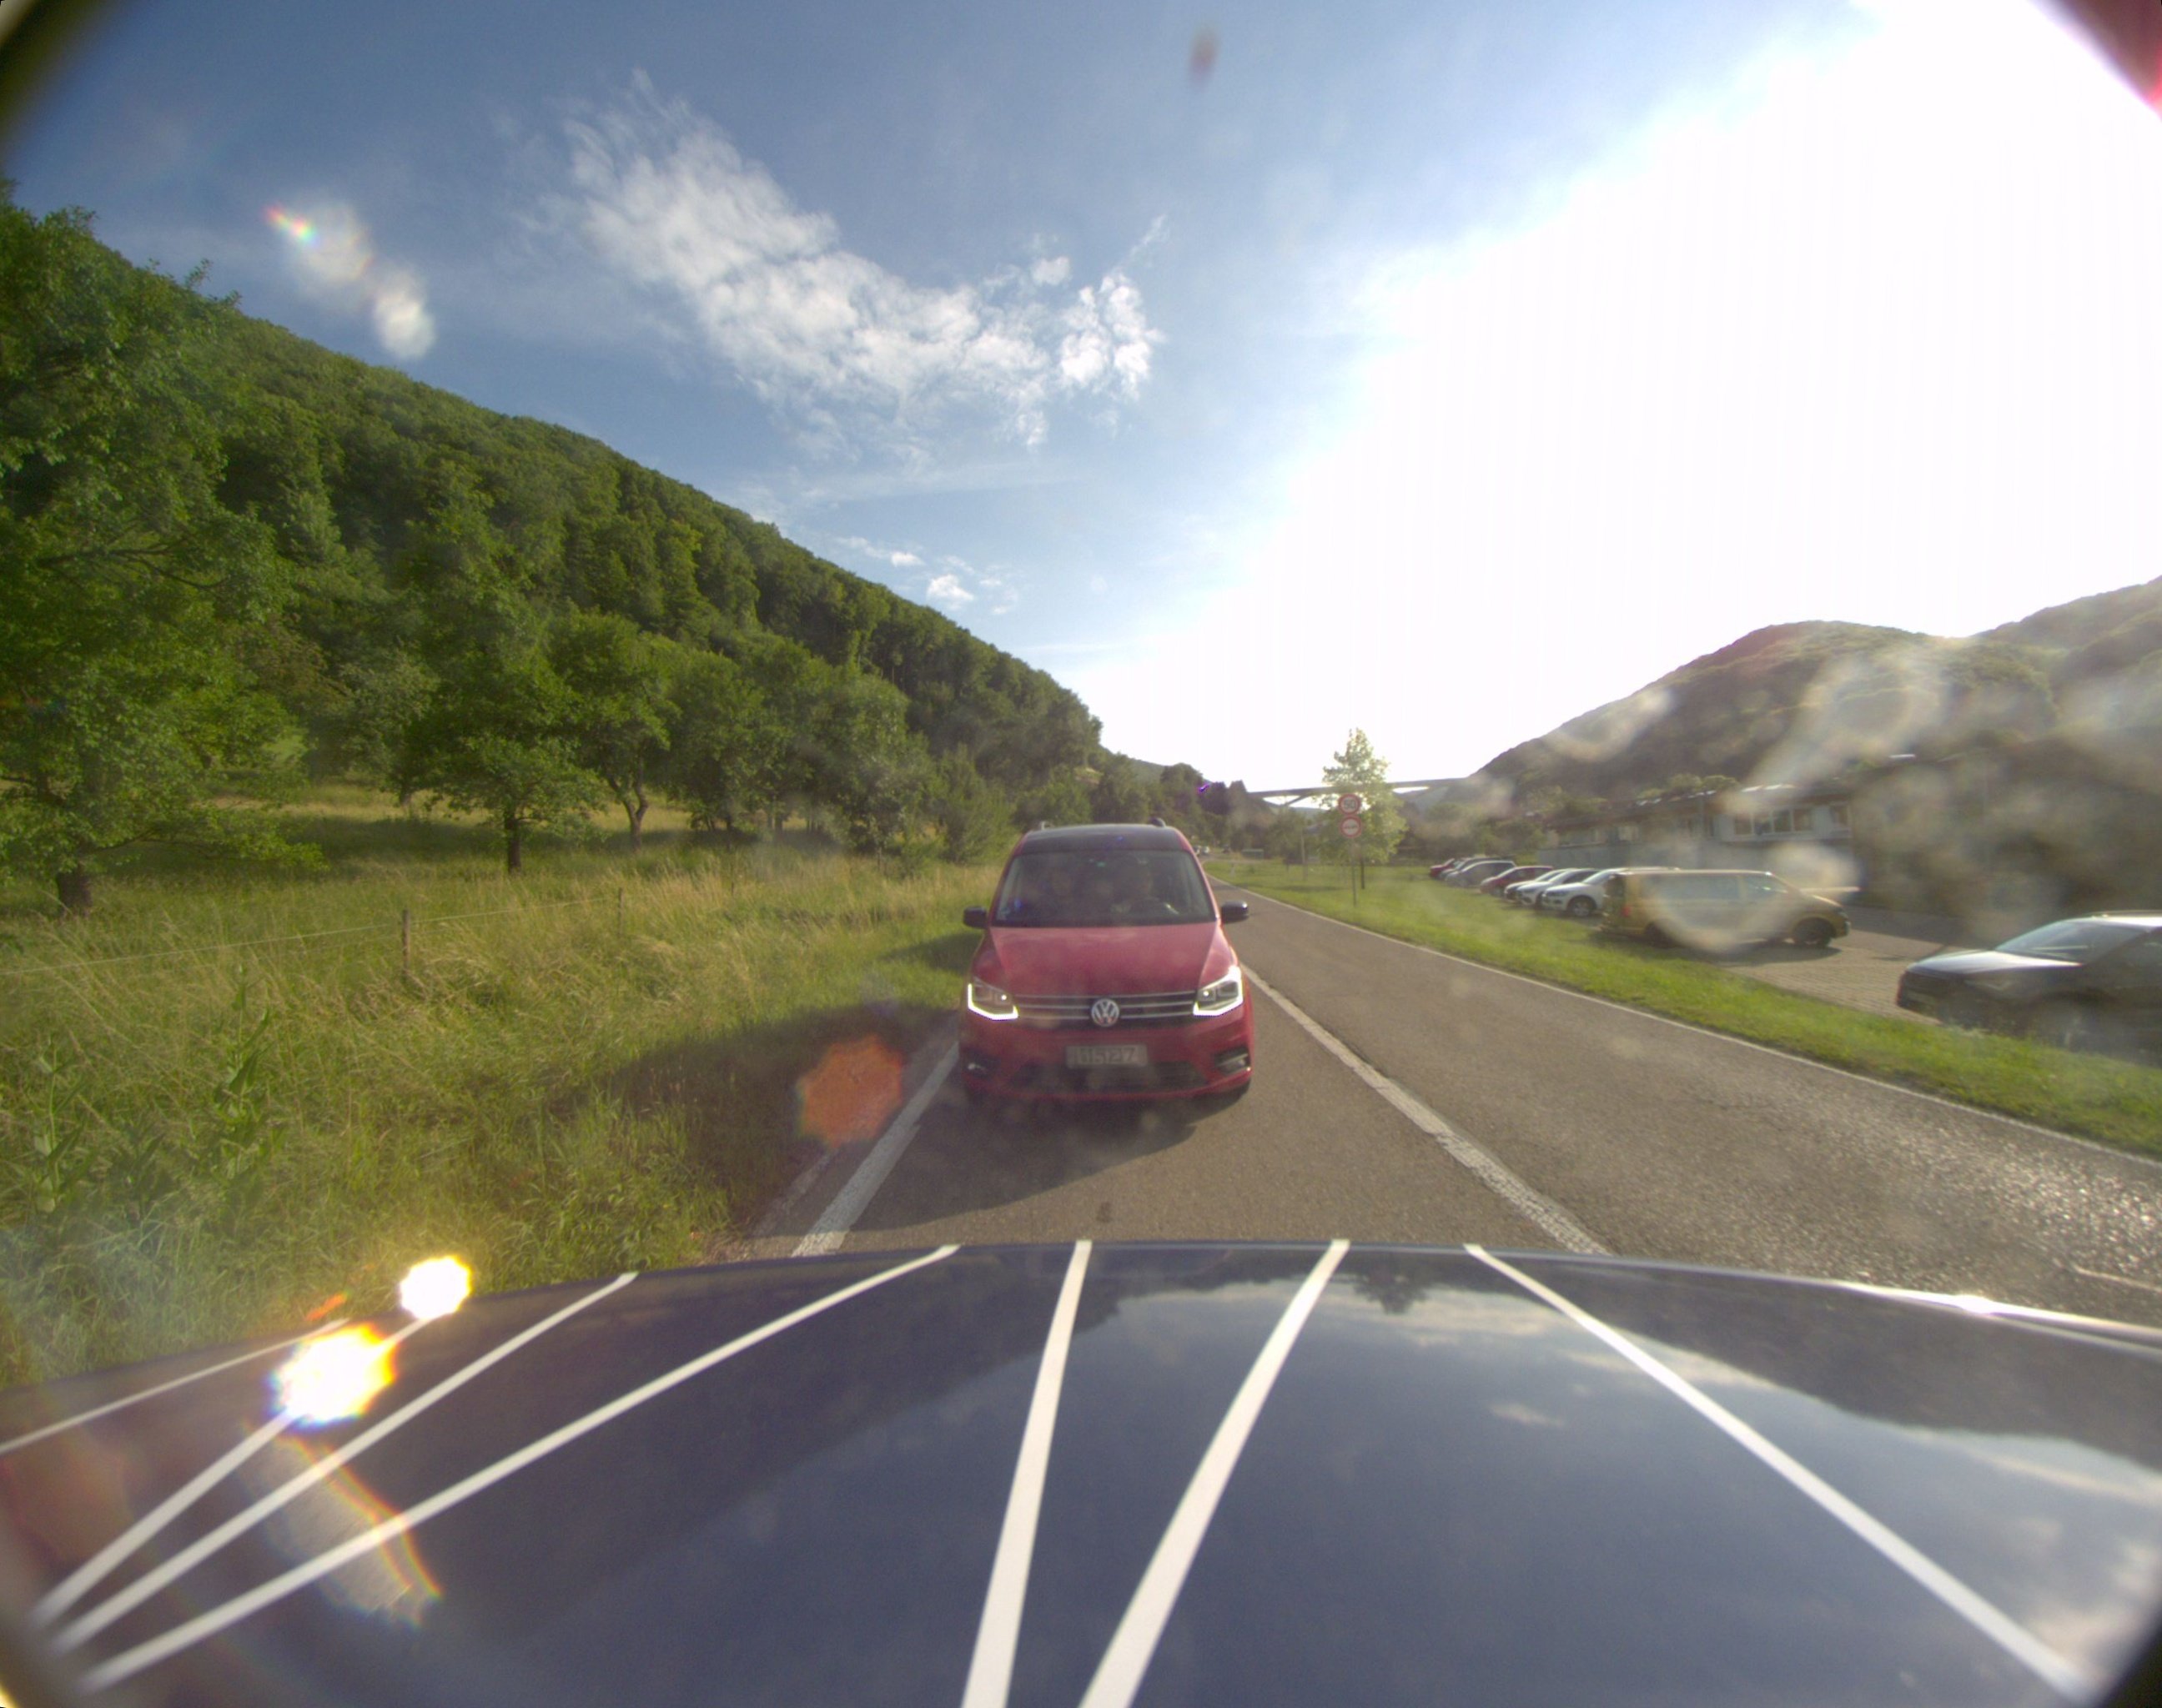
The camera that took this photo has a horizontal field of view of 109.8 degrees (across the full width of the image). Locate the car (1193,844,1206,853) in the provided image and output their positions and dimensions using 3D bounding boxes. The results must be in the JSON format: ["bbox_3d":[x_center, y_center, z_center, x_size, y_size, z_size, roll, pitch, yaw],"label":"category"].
[{"bbox_3d":[22.006,-1.001,140.678,1.996,1.706,4.004,-2,-1,14],"label":"car"}]

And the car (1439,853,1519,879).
[{"bbox_3d":[27.605,0.836,52.926,4.665,1.752,2.003,-1,0,18],"label":"car"}]

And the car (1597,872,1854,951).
[{"bbox_3d":[16.326,1.407,19.593,4.653,1.802,2.003,-1,0,20],"label":"car"}]

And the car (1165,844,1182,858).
[{"bbox_3d":[12.021,-0.394,98.851,1.797,1.725,4.287,-2,0,12],"label":"car"}]

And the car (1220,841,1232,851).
[{"bbox_3d":[32.205,-1.786,168.686,1.909,1.893,4.004,-2,1,18],"label":"car"}]

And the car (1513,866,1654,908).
[{"bbox_3d":[20.202,1.317,30.788,4.437,1.577,2.003,-1,0,20],"label":"car"}]

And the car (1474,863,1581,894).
[{"bbox_3d":[22.705,1.240,38.818,4.437,1.443,2.003,-1,0,20],"label":"car"}]

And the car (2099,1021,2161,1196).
[{"bbox_3d":[12.081,2.371,5.998,4.645,1.488,1.915,-1,0,15],"label":"car"}]

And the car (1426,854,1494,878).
[{"bbox_3d":[28.894,0.924,58.100,4.437,1.709,2.003,-1,0,18],"label":"car"}]

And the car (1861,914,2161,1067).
[{"bbox_3d":[13.517,1.705,9.888,4.289,1.628,1.915,-3,0,15],"label":"car"}]

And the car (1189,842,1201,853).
[{"bbox_3d":[19.133,-1.088,127.116,1.677,1.636,3.351,-3,-3,13],"label":"car"}]

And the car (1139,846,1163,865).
[{"bbox_3d":[6.624,0.157,71.994,1.911,1.675,4.003,-2,-1,10],"label":"car"}]

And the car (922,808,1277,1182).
[{"bbox_3d":[0.123,0.733,6.034,1.747,1.849,4.348,-2,0,1],"label":"car"}]

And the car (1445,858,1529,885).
[{"bbox_3d":[25.807,1.104,48.465,4.437,1.573,2.003,-2,0,18],"label":"car"}]

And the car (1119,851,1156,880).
[{"bbox_3d":[3.144,0.617,41.509,1.798,1.464,4.285,-2,0,6],"label":"car"}]

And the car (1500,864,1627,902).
[{"bbox_3d":[21.411,1.264,33.943,4.437,1.573,2.003,-1,0,18],"label":"car"}]

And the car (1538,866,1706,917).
[{"bbox_3d":[19.327,1.321,27.390,4.545,1.691,2.003,-1,0,20],"label":"car"}]

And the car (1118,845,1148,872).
[{"bbox_3d":[3.767,0.334,55.182,1.998,1.838,4.001,-2,0,4],"label":"car"}]
